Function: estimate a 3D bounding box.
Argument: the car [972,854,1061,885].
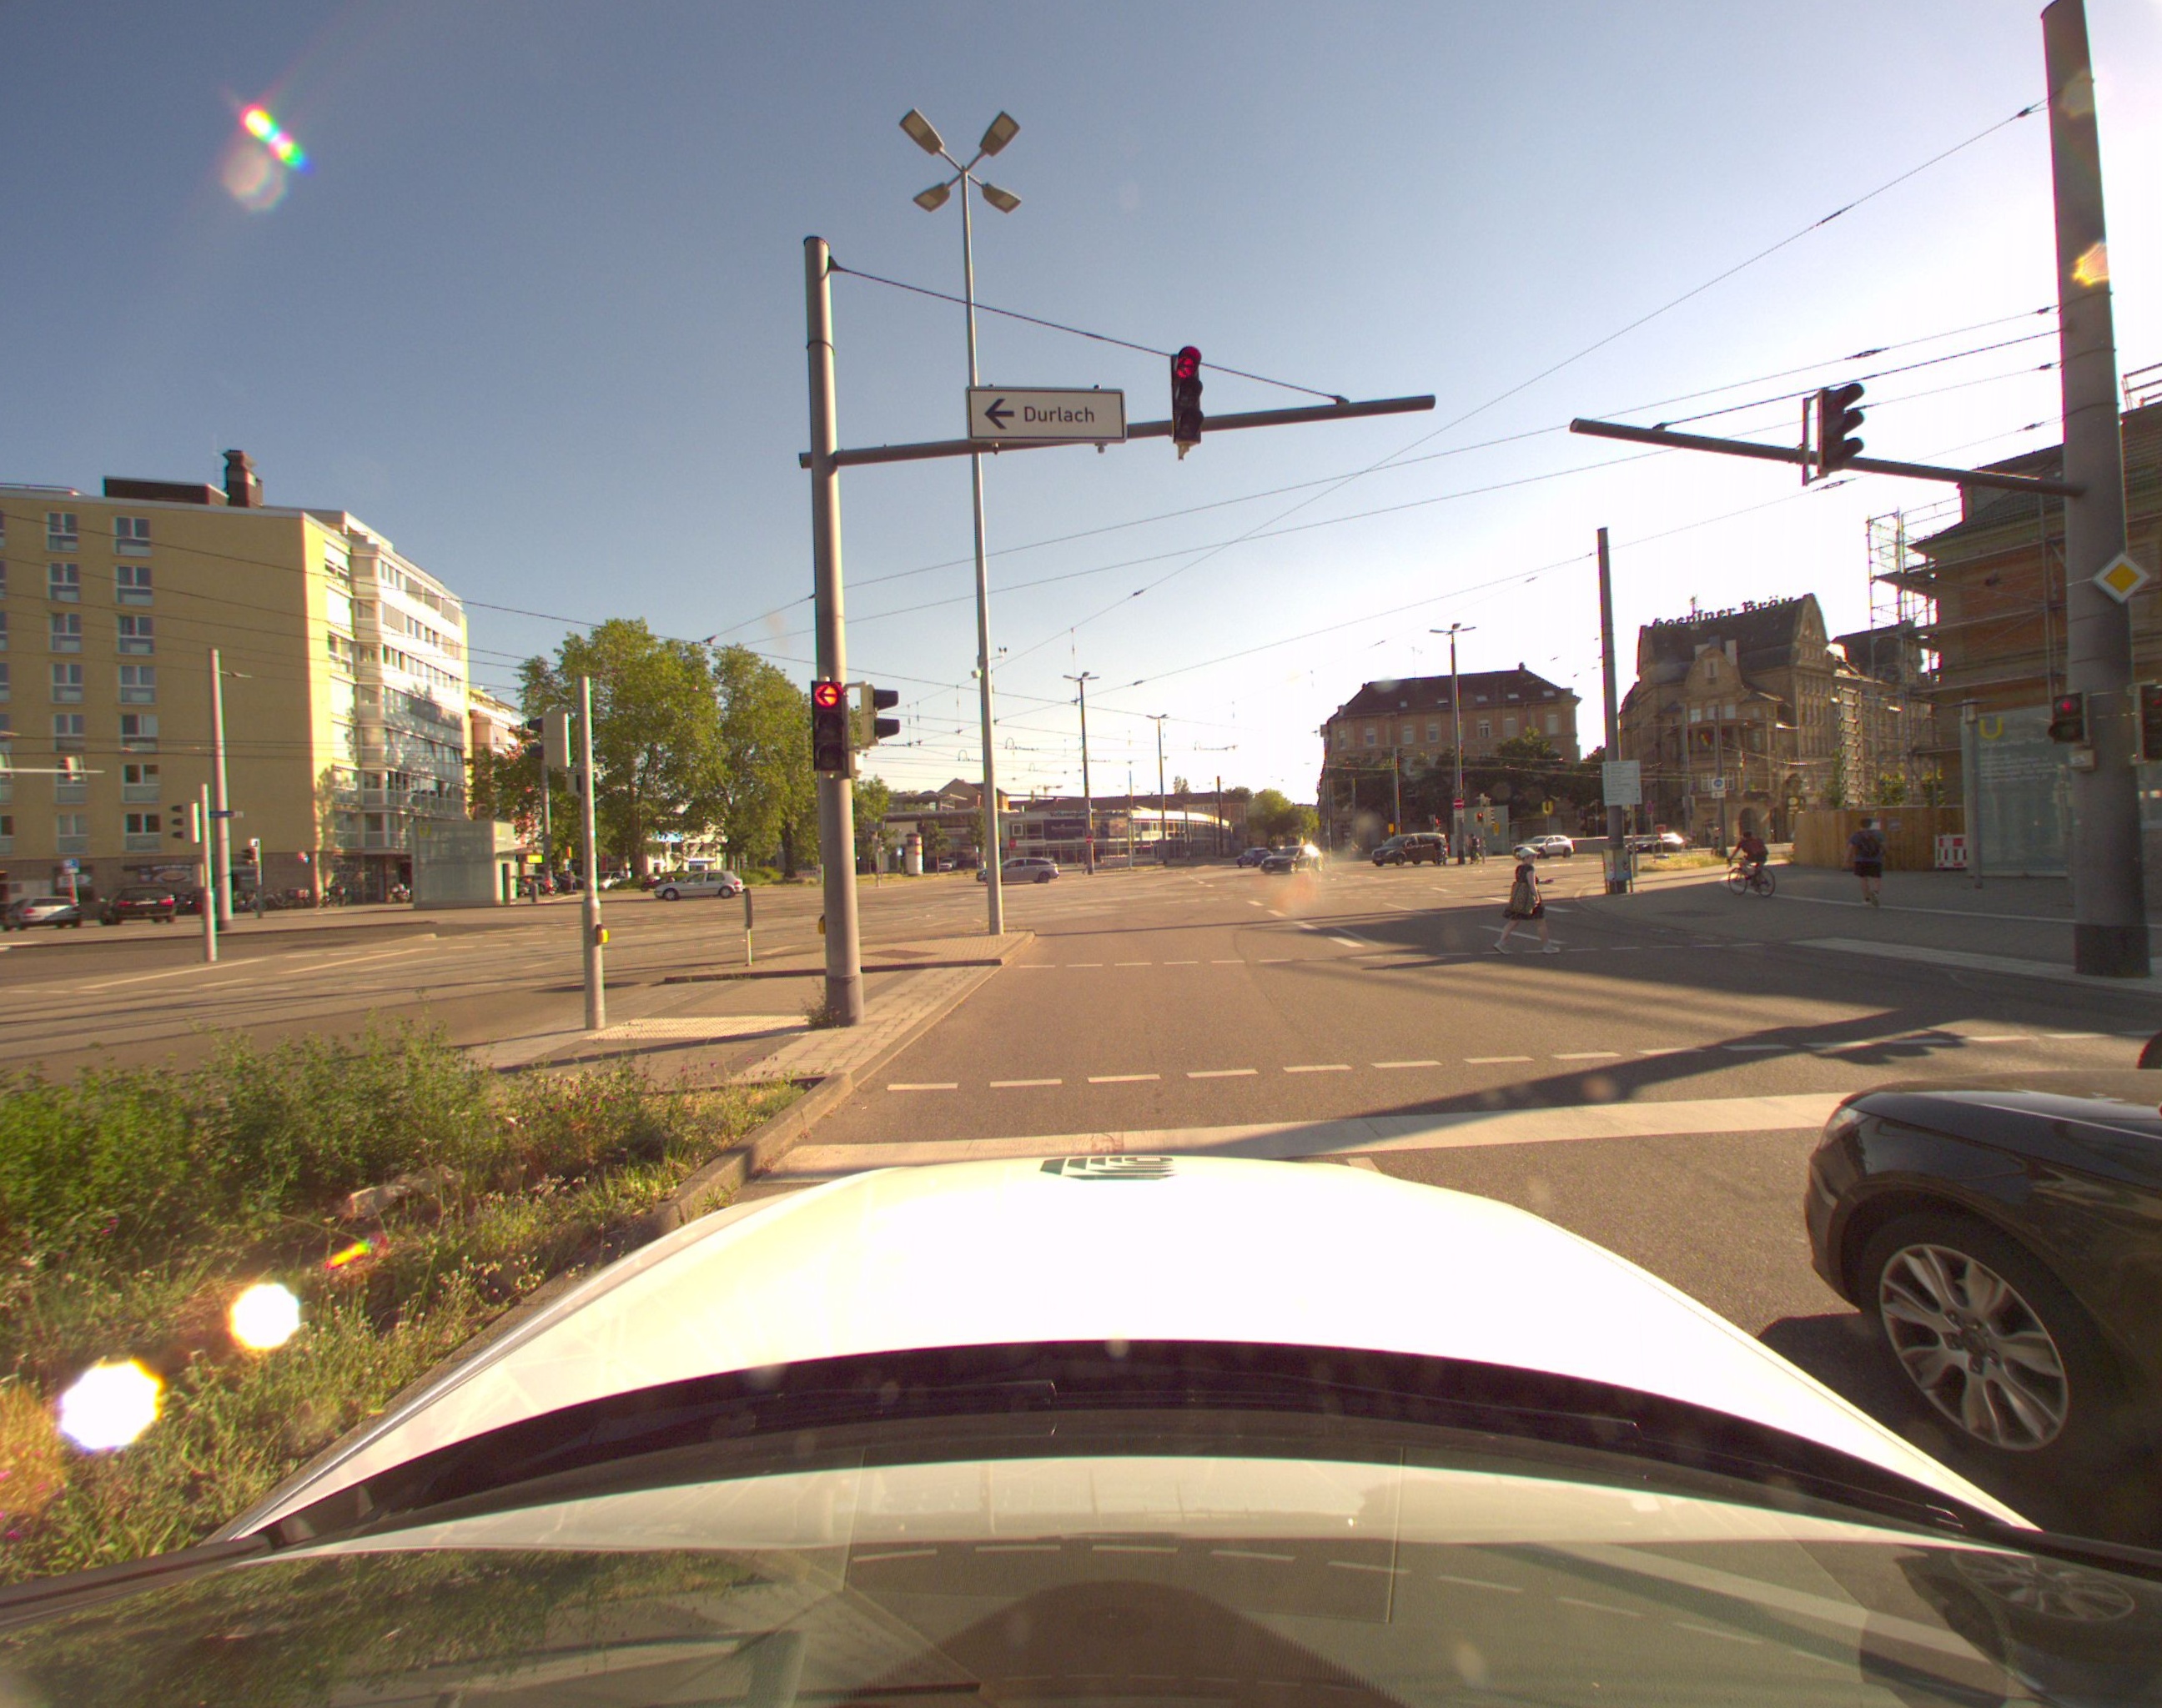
[{"bbox_3d":[-3.628,0.845,45.646,4.559,1.517,1.940,-2,0,-20],"label":"car"}]

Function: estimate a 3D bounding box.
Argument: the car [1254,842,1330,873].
[{"bbox_3d":[11.386,0.191,43.860,4.124,1.486,1.931,-2,0,-40],"label":"car"}]

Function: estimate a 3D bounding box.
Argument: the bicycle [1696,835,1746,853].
[{"bbox_3d":[33.203,-0.513,42.254,2.501,0.874,0.854,-2,2,-20],"label":"bicycle"}]

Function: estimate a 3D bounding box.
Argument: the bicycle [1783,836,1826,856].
[{"bbox_3d":[45.302,-0.502,50.991,2.498,1.133,0.855,-2,2,-17],"label":"bicycle"}]

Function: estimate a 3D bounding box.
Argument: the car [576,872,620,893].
[{"bbox_3d":[-37.791,2.196,63.775,1.850,1.452,3.981,-2,0,-14],"label":"car"}]

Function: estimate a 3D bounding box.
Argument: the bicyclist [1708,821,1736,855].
[{"bbox_3d":[33.251,-0.832,42.260,0.747,1.690,0.855,-2,2,-19],"label":"bicyclist"}]

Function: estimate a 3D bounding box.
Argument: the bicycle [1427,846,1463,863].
[{"bbox_3d":[21.634,0.001,48.347,2.313,0.905,0.851,-2,2,-34],"label":"bicycle"}]

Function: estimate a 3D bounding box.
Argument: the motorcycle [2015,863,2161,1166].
[{"bbox_3d":[5.472,0.733,2.990,1.091,1.377,2.655,-1,-1,3],"label":"motorcycle"}]

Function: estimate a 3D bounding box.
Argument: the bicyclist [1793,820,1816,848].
[{"bbox_3d":[45.291,-1.262,50.973,0.650,1.690,0.855,-2,1,-16],"label":"bicyclist"}]

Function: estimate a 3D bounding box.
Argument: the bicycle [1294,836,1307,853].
[{"bbox_3d":[23.690,-1.030,87.933,1.126,1.690,4.020,-1,2,18],"label":"bicycle"}]

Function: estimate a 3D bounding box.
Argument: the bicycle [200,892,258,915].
[{"bbox_3d":[-47.049,2.728,44.972,2.047,1.090,0.772,-2,0,-18],"label":"bicycle"}]

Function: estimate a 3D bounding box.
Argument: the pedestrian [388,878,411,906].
[{"bbox_3d":[-41.850,2.312,50.009,0.777,1.676,0.778,-2,0,-15],"label":"pedestrian"}]

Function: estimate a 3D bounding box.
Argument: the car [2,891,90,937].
[{"bbox_3d":[-46.487,2.638,36.556,3.949,1.748,1.851,0,2,30],"label":"car"}]

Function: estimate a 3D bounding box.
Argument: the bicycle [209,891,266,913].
[{"bbox_3d":[-47.385,2.712,45.775,2.047,1.090,0.772,-2,0,-18],"label":"bicycle"}]

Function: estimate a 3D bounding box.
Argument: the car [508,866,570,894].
[{"bbox_3d":[-42.977,2.063,64.702,4.016,2.013,1.979,-2,0,-33],"label":"car"}]

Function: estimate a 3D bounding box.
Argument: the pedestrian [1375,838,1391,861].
[{"bbox_3d":[23.306,-0.351,62.839,0.921,1.676,0.783,-2,0,1],"label":"pedestrian"}]

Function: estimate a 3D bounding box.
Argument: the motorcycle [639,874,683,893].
[{"bbox_3d":[-26.434,1.863,51.267,2.286,1.054,0.685,-2,1,-12],"label":"motorcycle"}]

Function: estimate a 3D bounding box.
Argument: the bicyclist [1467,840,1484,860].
[{"bbox_3d":[23.341,-0.238,48.203,0.850,1.176,0.719,-1,2,22],"label":"bicyclist"}]

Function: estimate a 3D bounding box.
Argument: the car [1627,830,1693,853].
[{"bbox_3d":[42.537,-0.943,59.820,4.361,1.563,1.937,-2,2,-23],"label":"car"}]

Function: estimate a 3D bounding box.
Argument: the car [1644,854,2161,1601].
[{"bbox_3d":[3.018,0.733,1.052,1.795,1.444,3.976,-1,0,-1],"label":"car"}]

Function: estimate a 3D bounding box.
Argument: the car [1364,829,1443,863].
[{"bbox_3d":[20.114,-0.522,50.734,4.867,1.893,1.934,-2,0,-31],"label":"car"}]

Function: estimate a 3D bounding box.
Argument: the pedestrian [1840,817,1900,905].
[{"bbox_3d":[15.457,0.130,15.978,0.690,1.671,0.834,-4,-1,40],"label":"pedestrian"}]

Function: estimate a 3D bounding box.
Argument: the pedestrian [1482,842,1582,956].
[{"bbox_3d":[6.705,0.640,12.133,1.092,1.606,0.697,-2,1,-9],"label":"pedestrian"}]

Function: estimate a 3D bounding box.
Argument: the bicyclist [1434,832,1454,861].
[{"bbox_3d":[21.510,-0.470,48.280,0.654,1.690,0.851,-2,2,-34],"label":"bicyclist"}]

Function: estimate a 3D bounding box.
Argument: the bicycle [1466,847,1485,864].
[{"bbox_3d":[23.388,0.084,48.295,0.850,0.905,2.316,-1,2,21],"label":"bicycle"}]

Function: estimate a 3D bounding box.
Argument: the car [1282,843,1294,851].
[{"bbox_3d":[46.170,-1.596,181.965,1.795,1.655,3.919,-1,2,1],"label":"car"}]

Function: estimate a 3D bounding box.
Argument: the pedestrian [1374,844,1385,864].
[{"bbox_3d":[25.405,0.028,69.359,0.644,1.653,0.551,-2,0,-36],"label":"pedestrian"}]

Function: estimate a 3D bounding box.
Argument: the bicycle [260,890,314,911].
[{"bbox_3d":[-45.265,2.643,46.449,2.047,1.090,0.772,-2,0,-18],"label":"bicycle"}]

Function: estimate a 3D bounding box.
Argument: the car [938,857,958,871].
[{"bbox_3d":[-16.539,1.248,101.369,1.990,1.534,3.995,-1,2,-4],"label":"car"}]

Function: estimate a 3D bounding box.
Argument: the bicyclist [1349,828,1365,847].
[{"bbox_3d":[22.849,-1.395,67.369,0.927,1.559,0.854,-2,2,-21],"label":"bicyclist"}]

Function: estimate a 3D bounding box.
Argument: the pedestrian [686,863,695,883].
[{"bbox_3d":[-41.130,2.005,85.794,0.586,2.013,0.711,-2,0,1],"label":"pedestrian"}]

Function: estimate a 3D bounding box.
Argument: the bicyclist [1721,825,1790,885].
[{"bbox_3d":[16.145,0.043,19.528,0.717,1.384,1.076,-1,-2,2],"label":"bicyclist"}]

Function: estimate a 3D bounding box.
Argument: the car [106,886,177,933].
[{"bbox_3d":[-43.620,2.526,37.804,3.948,1.857,1.865,0,2,38],"label":"car"}]

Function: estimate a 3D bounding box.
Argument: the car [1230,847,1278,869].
[{"bbox_3d":[13.477,0.314,63.788,1.949,1.594,4.598,-2,0,-12],"label":"car"}]

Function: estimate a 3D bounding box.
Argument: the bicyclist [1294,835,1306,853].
[{"bbox_3d":[23.611,-1.136,87.911,1.110,1.900,1.079,-1,2,19],"label":"bicyclist"}]

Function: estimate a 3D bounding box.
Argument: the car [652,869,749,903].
[{"bbox_3d":[-18.935,1.575,40.735,4.105,1.452,1.942,-2,0,-18],"label":"car"}]

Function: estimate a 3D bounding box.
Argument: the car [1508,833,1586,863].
[{"bbox_3d":[31.516,-0.417,55.090,4.855,1.799,1.939,-2,0,-23],"label":"car"}]

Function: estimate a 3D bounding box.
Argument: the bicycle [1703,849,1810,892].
[{"bbox_3d":[16.152,0.399,19.557,0.717,0.952,2.250,-1,-1,2],"label":"bicycle"}]

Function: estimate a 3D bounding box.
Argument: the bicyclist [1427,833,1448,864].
[{"bbox_3d":[20.957,-0.311,47.897,0.587,1.778,0.858,-2,0,-33],"label":"bicyclist"}]

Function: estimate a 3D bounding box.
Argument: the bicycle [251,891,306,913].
[{"bbox_3d":[-44.970,2.660,45.658,2.047,1.090,0.772,-2,0,-18],"label":"bicycle"}]

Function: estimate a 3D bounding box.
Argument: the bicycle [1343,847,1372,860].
[{"bbox_3d":[22.895,-0.016,67.410,2.305,0.979,0.854,-2,2,-22],"label":"bicycle"}]

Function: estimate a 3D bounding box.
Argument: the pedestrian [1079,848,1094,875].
[{"bbox_3d":[0.368,0.509,57.208,0.986,1.816,0.920,-1,1,0],"label":"pedestrian"}]

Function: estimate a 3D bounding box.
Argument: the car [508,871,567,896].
[{"bbox_3d":[-45.816,2.478,68.757,4.016,1.857,1.834,-2,2,-33],"label":"car"}]
